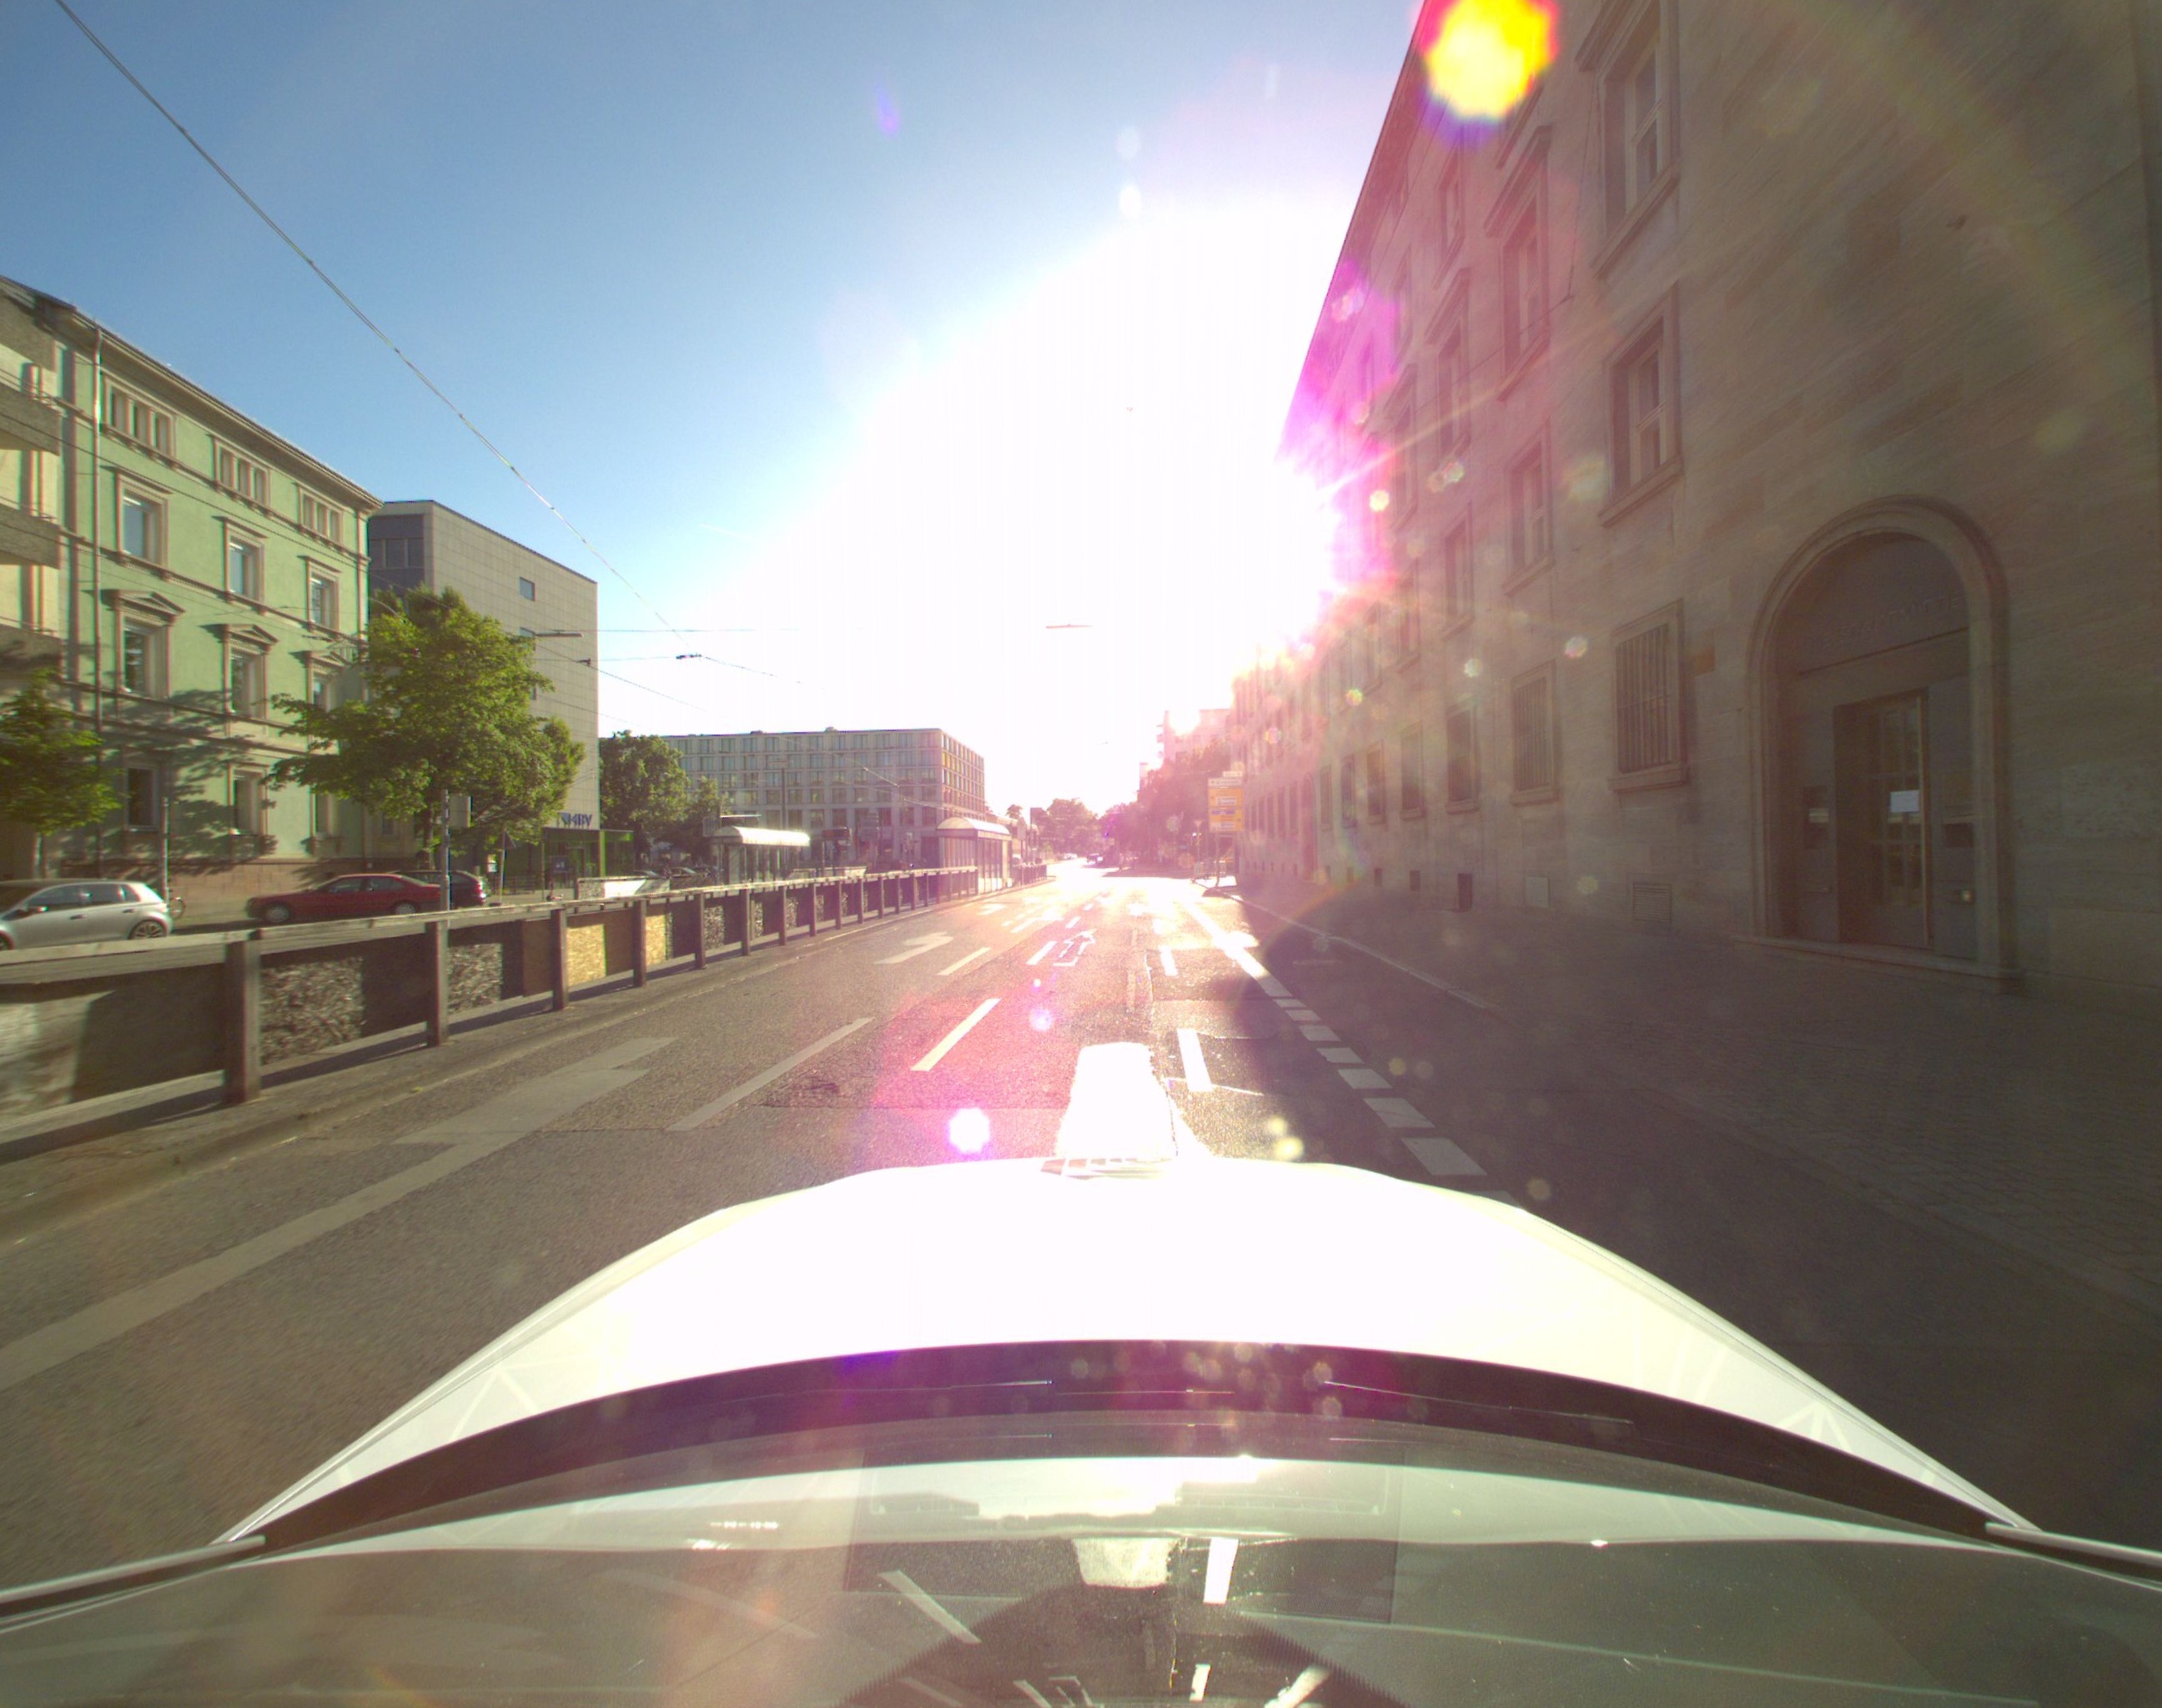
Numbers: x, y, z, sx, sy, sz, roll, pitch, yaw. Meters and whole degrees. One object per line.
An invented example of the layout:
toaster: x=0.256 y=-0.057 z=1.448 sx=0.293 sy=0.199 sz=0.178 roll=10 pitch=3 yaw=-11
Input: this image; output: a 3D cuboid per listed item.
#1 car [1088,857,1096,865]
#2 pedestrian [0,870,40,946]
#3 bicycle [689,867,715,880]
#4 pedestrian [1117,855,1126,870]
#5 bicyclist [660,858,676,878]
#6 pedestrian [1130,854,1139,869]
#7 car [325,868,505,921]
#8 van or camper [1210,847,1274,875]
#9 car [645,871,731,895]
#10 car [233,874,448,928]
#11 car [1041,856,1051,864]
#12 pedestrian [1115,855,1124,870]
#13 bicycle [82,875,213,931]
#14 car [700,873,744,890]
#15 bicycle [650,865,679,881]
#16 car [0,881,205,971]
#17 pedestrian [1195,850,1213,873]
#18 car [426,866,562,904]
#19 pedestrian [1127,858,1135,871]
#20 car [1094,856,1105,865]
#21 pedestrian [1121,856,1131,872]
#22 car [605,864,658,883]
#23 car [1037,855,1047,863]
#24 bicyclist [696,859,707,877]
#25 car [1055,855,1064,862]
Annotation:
car: x=2.445 y=1.635 z=179.500 sx=1.677 sy=1.737 sz=3.512 roll=0 pitch=-1 yaw=4
pedestrian: x=-23.877 y=1.193 z=18.221 sx=0.510 sy=1.671 sz=0.489 roll=-1 pitch=0 yaw=-4
bicycle: x=-32.700 y=1.679 z=70.284 sx=1.909 sy=1.122 sz=0.793 roll=-1 pitch=0 yaw=14
pedestrian: x=4.817 y=1.055 z=96.958 sx=0.848 sy=1.784 sz=0.777 roll=-1 pitch=0 yaw=-12
bicyclist: x=-35.883 y=1.177 z=70.706 sx=0.884 sy=1.695 sz=0.846 roll=-1 pitch=0 yaw=9
pedestrian: x=6.278 y=0.860 z=96.384 sx=0.848 sy=1.784 sz=0.777 roll=-1 pitch=0 yaw=-12
car: x=-22.094 y=1.291 z=27.179 sx=4.539 sy=1.642 sz=1.571 roll=1 pitch=-2 yaw=-42
van or camper: x=17.347 y=0.766 z=87.918 sx=6.670 sy=2.862 sz=2.917 roll=0 pitch=-1 yaw=8
car: x=-23.327 y=1.721 z=48.432 sx=4.527 sy=1.350 sz=1.575 roll=1 pitch=-1 yaw=-29
car: x=-21.830 y=1.330 z=24.309 sx=4.535 sy=1.426 sz=1.852 roll=1 pitch=-1 yaw=-37
car: x=-8.367 y=1.449 z=195.869 sx=1.811 sy=1.712 sz=3.810 roll=-1 pitch=0 yaw=4
pedestrian: x=4.665 y=1.008 z=97.813 sx=0.848 sy=1.784 sz=0.777 roll=-1 pitch=0 yaw=-12
bicycle: x=-26.495 y=1.344 z=23.216 sx=0.717 sy=1.398 sz=3.000 roll=-1 pitch=0 yaw=-10
car: x=-34.219 y=2.633 z=77.730 sx=3.517 sy=1.506 sz=1.523 roll=-1 pitch=0 yaw=1
bicycle: x=-36.157 y=1.626 z=70.722 sx=2.036 sy=1.288 sz=0.889 roll=-1 pitch=0 yaw=9
car: x=-19.279 y=1.268 z=15.058 sx=1.703 sy=1.410 sz=4.285 roll=1 pitch=0 yaw=-5
pedestrian: x=9.324 y=0.549 z=61.763 sx=1.038 sy=1.721 sz=1.032 roll=-1 pitch=0 yaw=-7
car: x=-25.124 y=1.301 z=35.057 sx=4.527 sy=1.570 sz=1.575 roll=1 pitch=-1 yaw=-29
pedestrian: x=5.951 y=1.246 z=97.185 sx=0.762 sy=1.558 sz=0.585 roll=-1 pitch=0 yaw=-12
car: x=3.052 y=1.097 z=134.831 sx=1.677 sy=1.501 sz=3.512 roll=0 pitch=-1 yaw=4
pedestrian: x=5.246 y=1.153 z=95.356 sx=0.967 sy=1.784 sz=0.777 roll=-1 pitch=0 yaw=-12
car: x=-36.942 y=1.612 z=66.999 sx=3.517 sy=1.506 sz=1.523 roll=-1 pitch=0 yaw=1
car: x=-8.844 y=1.176 z=184.973 sx=1.811 sy=1.712 sz=3.810 roll=-1 pitch=0 yaw=4
bicyclist: x=-32.798 y=1.206 z=70.346 sx=0.614 sy=1.582 sz=0.596 roll=-1 pitch=0 yaw=13
car: x=-5.413 y=1.118 z=207.555 sx=1.811 sy=1.712 sz=3.810 roll=-1 pitch=0 yaw=4
